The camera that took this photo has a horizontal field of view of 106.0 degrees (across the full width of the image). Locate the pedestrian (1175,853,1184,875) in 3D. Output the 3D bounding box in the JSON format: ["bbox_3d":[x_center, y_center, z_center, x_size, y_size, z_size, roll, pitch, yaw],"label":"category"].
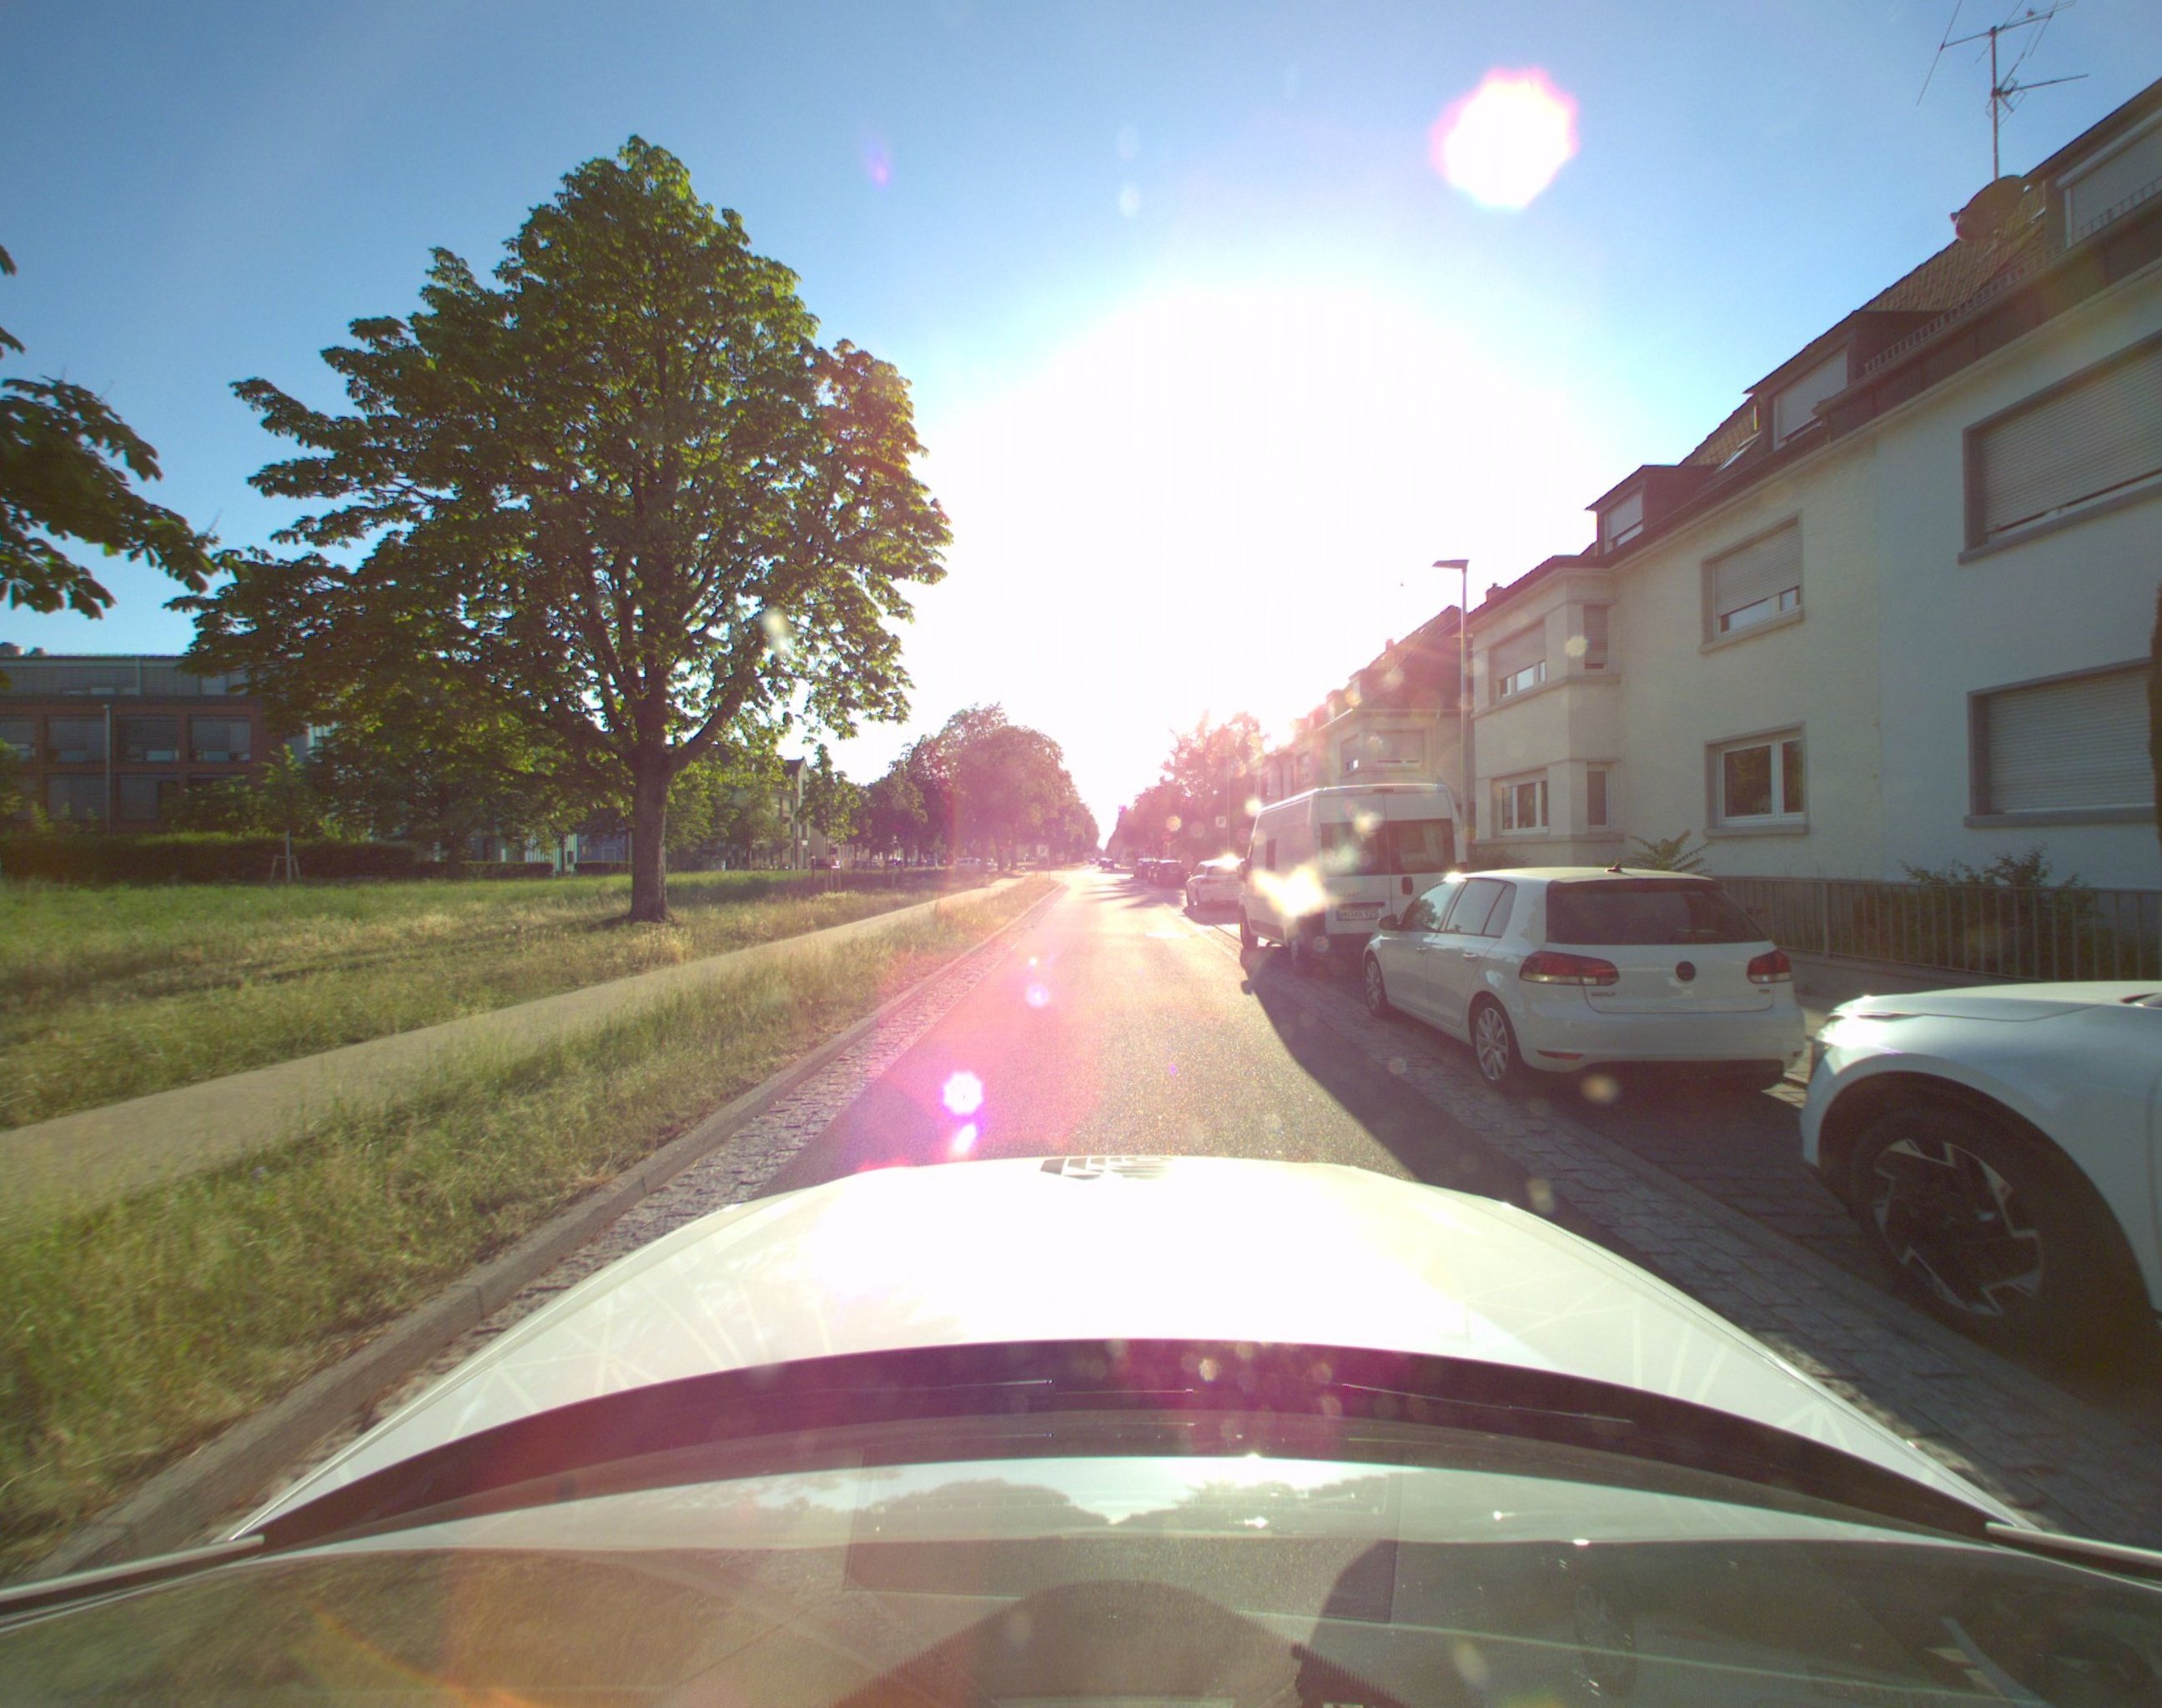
[{"bbox_3d":[7.854,0.794,65.073,0.666,1.708,0.623,0,-1,4],"label":"pedestrian"}]

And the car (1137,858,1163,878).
[{"bbox_3d":[5.180,1.033,61.257,1.635,1.427,3.937,-2,-1,1],"label":"car"}]

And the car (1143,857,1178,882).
[{"bbox_3d":[4.873,0.929,50.362,1.740,1.474,4.255,0,0,1],"label":"car"}]

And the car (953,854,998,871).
[{"bbox_3d":[-11.128,0.900,85.709,4.421,1.676,1.886,-1,0,-17],"label":"car"}]

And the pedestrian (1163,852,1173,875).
[{"bbox_3d":[6.960,0.750,65.163,0.668,1.865,0.882,0,-1,1],"label":"pedestrian"}]

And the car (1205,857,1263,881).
[{"bbox_3d":[10.430,0.991,55.822,3.621,1.496,1.781,-2,-1,1],"label":"car"}]

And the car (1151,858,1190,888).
[{"bbox_3d":[4.875,1.001,44.750,1.712,1.471,3.983,-3,-1,1],"label":"car"}]

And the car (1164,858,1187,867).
[{"bbox_3d":[16.217,1.471,139.303,3.766,1.525,1.744,0,1,1],"label":"car"}]

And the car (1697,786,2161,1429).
[{"bbox_3d":[3.625,0.623,1.372,1.772,1.645,4.480,-2,0,0],"label":"car"}]

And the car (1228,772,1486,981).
[{"bbox_3d":[3.843,0.280,12.618,2.122,2.518,5.507,0,0,0],"label":"car"}]

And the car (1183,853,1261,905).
[{"bbox_3d":[4.352,0.740,25.706,1.776,1.507,4.234,0,0,1],"label":"car"}]

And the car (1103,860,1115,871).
[{"bbox_3d":[4.011,1.666,118.223,1.634,1.451,3.310,0,0,4],"label":"car"}]

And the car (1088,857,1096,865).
[{"bbox_3d":[3.025,1.970,231.264,2.126,2.014,3.903,0,0,2],"label":"car"}]

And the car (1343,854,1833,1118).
[{"bbox_3d":[3.557,0.771,6.724,1.615,1.482,4.111,-1,0,3],"label":"car"}]

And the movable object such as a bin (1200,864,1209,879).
[{"bbox_3d":[8.822,1.219,57.961,0.506,1.043,0.658,0,-1,-4],"label":"movable object such as a bin"}]

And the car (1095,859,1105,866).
[{"bbox_3d":[3.522,1.581,152.406,1.838,1.394,3.831,0,0,2],"label":"car"}]

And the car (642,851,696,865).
[{"bbox_3d":[-43.382,0.448,85.839,4.762,1.434,1.809,0,-2,-9],"label":"car"}]
